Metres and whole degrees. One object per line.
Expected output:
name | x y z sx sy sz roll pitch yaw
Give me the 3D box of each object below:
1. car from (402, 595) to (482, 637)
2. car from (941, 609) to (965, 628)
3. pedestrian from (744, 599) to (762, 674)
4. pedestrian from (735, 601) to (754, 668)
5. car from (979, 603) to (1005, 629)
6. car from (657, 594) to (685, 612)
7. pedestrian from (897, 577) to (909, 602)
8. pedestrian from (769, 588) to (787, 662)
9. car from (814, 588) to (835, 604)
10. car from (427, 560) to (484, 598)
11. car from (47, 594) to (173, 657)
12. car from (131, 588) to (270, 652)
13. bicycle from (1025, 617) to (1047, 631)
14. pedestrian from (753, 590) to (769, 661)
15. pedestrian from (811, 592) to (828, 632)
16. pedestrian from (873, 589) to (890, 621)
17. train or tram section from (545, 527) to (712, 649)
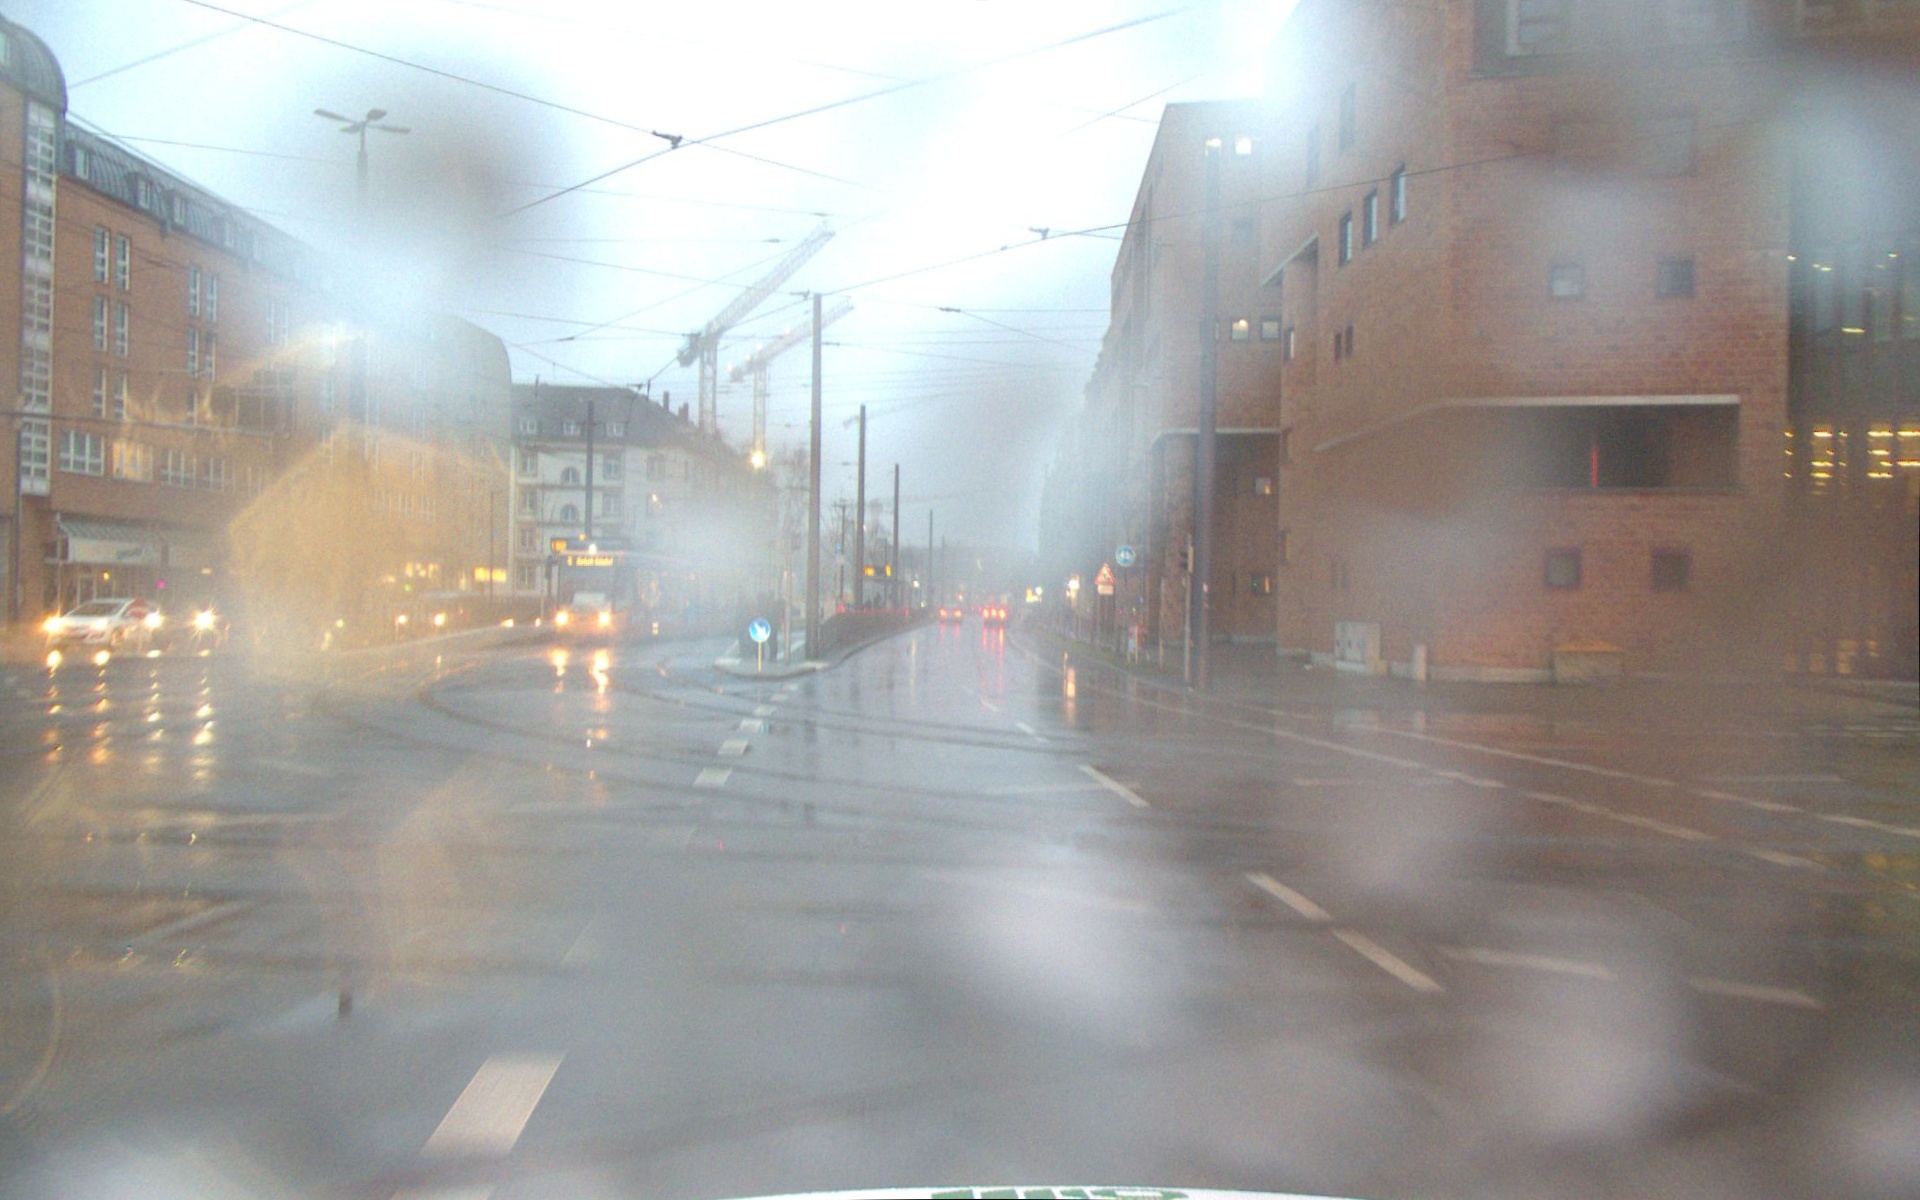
car | -18.312 0.557 58.606 1.647 1.378 3.546 2 0 0
car | -0.561 1.495 137.085 1.747 1.492 3.150 1 0 3
pedestrian | -5.578 0.975 44.627 0.425 2.002 0.473 1 0 -4
pedestrian | -5.756 0.908 44.134 0.425 1.766 0.473 1 0 -4
car | 2.659 1.281 136.350 1.952 2.049 4.002 1 0 3
car | -23.926 0.273 137.023 1.647 1.378 3.546 2 0 0
pedestrian | -3.608 -0.663 105.018 0.668 1.542 0.617 2 0 -11
pedestrian | -4.684 0.644 42.603 0.404 1.877 0.669 1 0 -4
car | -12.791 -0.364 156.106 1.647 1.378 3.546 2 0 0
car | -29.179 -1.201 95.812 1.952 2.049 4.000 2 0 1
car | -24.887 0.728 48.579 1.649 1.739 3.856 1 0 1
car | -21.999 0.545 48.139 1.791 1.739 4.706 1 0 1
bicycle | 5.883 1.882 128.393 1.694 1.073 0.371 0 0 0
pedestrian | -5.075 0.647 42.236 0.352 1.818 0.439 1 0 -4
pedestrian | -5.748 0.491 67.667 0.605 1.618 0.622 1 0 -2
pedestrian | -4.370 0.291 92.428 0.764 1.733 0.769 2 0 -17
train or tram section | -11.190 -0.391 57.418 2.889 3.651 12.257 2 0 1
